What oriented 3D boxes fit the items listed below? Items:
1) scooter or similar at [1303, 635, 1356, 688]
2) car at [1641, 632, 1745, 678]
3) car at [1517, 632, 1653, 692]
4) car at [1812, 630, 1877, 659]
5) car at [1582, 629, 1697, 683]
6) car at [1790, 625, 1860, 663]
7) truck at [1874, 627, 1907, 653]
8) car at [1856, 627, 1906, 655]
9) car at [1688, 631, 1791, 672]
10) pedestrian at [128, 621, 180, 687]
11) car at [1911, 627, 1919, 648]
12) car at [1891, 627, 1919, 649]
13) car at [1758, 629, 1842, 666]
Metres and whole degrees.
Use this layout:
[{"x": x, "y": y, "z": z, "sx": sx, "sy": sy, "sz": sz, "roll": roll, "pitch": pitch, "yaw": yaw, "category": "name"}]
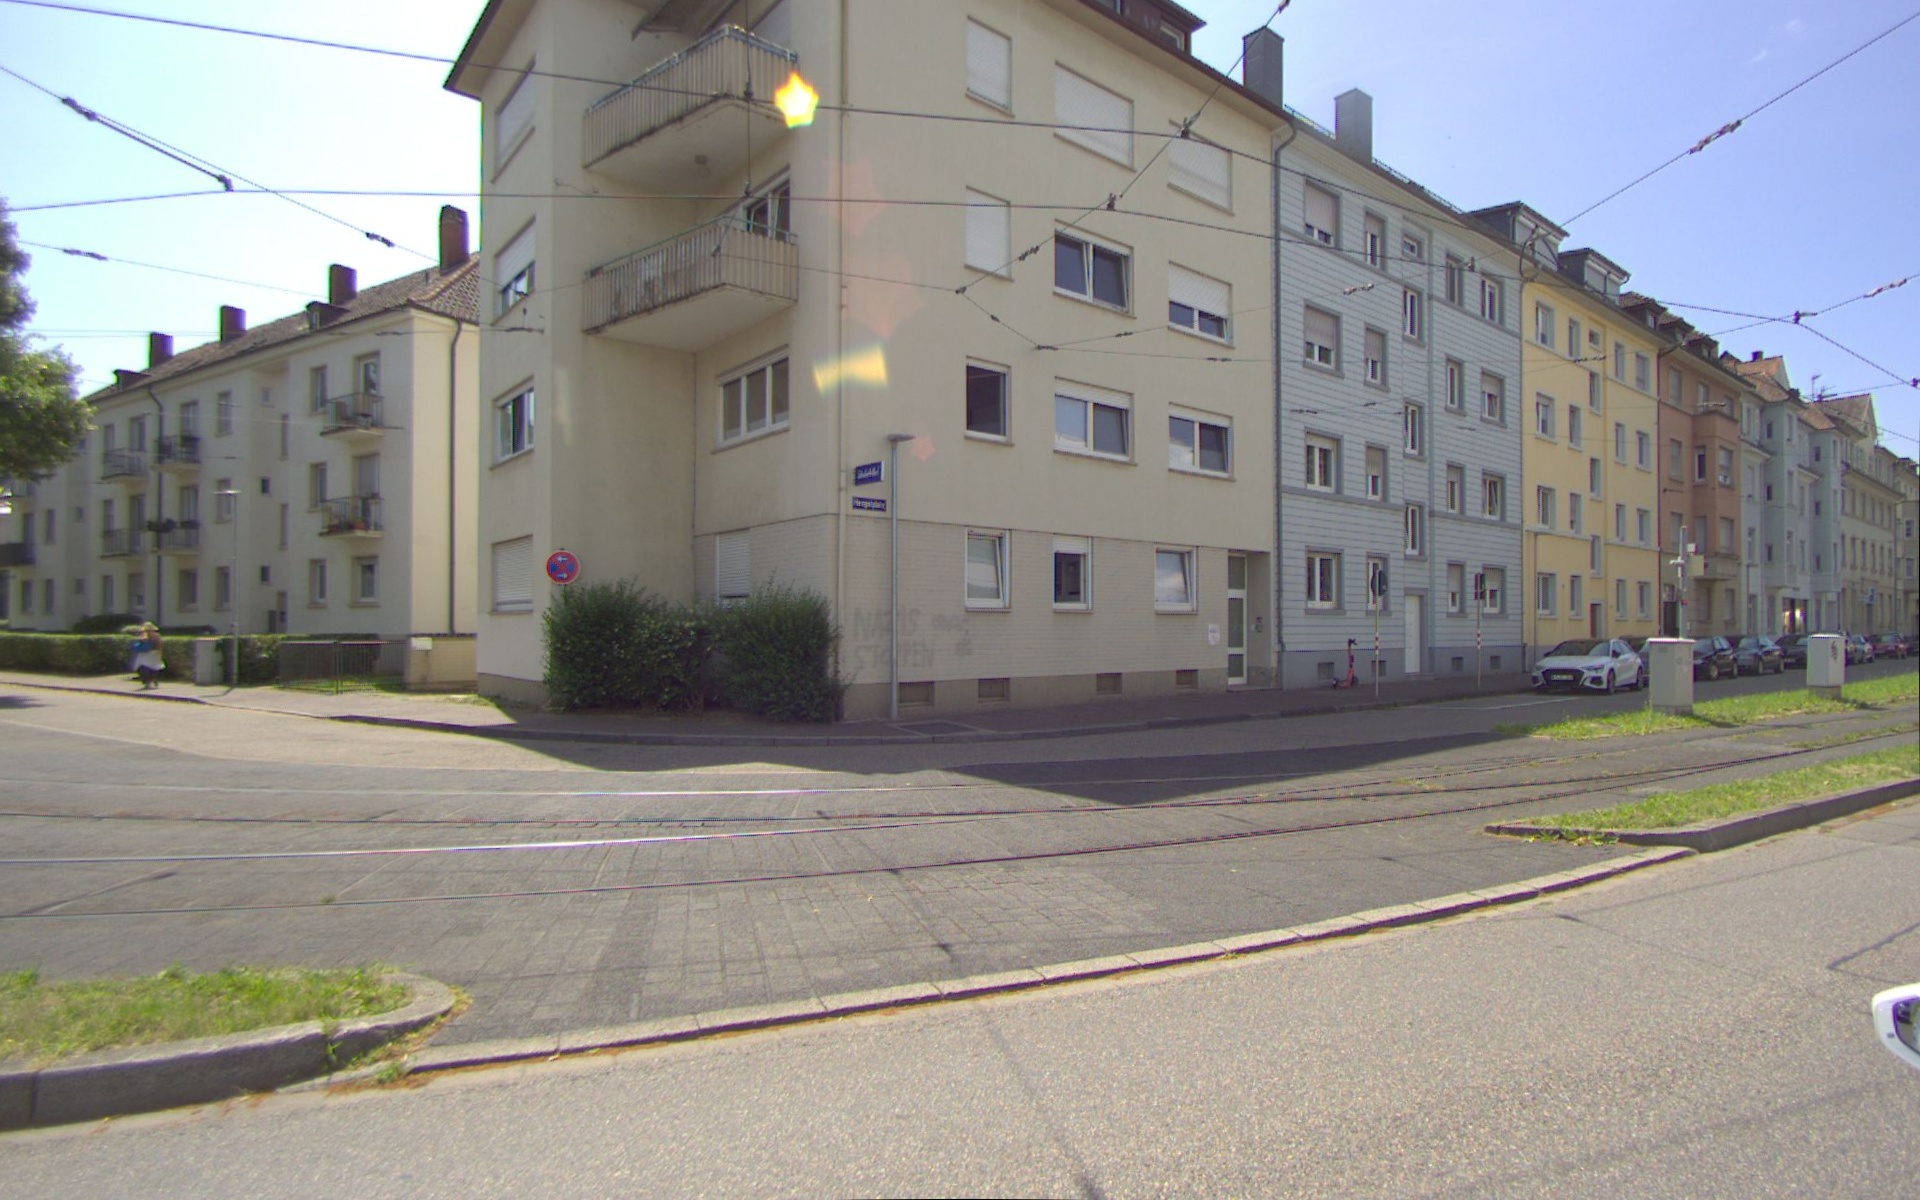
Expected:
[{"x": 9.147, "y": 1.516, "z": 24.837, "sx": 1.310, "sy": 1.239, "sz": 0.633, "roll": 3, "pitch": -1, "yaw": -40, "category": "scooter or similar"}, {"x": 24.644, "y": 1.814, "z": 33.730, "sx": 4.107, "sy": 1.418, "sz": 1.816, "roll": 1, "pitch": -2, "yaw": -39, "category": "car"}, {"x": 16.936, "y": 1.650, "z": 27.145, "sx": 4.343, "sy": 1.470, "sz": 1.911, "roll": 1, "pitch": -4, "yaw": -42, "category": "car"}, {"x": 44.181, "y": 2.209, "z": 50.153, "sx": 4.215, "sy": 1.374, "sz": 1.792, "roll": 1, "pitch": -3, "yaw": -40, "category": "car"}, {"x": 20.893, "y": 1.669, "z": 30.810, "sx": 4.293, "sy": 1.525, "sz": 1.911, "roll": 1, "pitch": -3, "yaw": -42, "category": "car"}, {"x": 40.616, "y": 2.029, "z": 47.128, "sx": 4.108, "sy": 1.707, "sz": 1.822, "roll": 1, "pitch": -3, "yaw": -40, "category": "car"}, {"x": 55.281, "y": 2.356, "z": 59.696, "sx": 2.574, "sy": 1.514, "sz": 1.116, "roll": 1, "pitch": -3, "yaw": -41, "category": "truck"}, {"x": 52.006, "y": 2.309, "z": 56.690, "sx": 3.595, "sy": 1.470, "sz": 1.559, "roll": 1, "pitch": -3, "yaw": -40, "category": "car"}, {"x": 28.946, "y": 1.873, "z": 37.240, "sx": 4.820, "sy": 1.416, "sz": 1.913, "roll": 1, "pitch": -3, "yaw": -39, "category": "car"}, {"x": -19.735, "y": 1.304, "z": 24.607, "sx": 0.731, "sy": 1.580, "sz": 0.776, "roll": 0, "pitch": -1, "yaw": 30, "category": "pedestrian"}, {"x": 67.866, "y": 2.582, "z": 70.137, "sx": 3.825, "sy": 1.408, "sz": 1.673, "roll": 1, "pitch": -3, "yaw": -40, "category": "car"}, {"x": 63.379, "y": 2.513, "z": 66.755, "sx": 3.825, "sy": 1.378, "sz": 1.673, "roll": 1, "pitch": -3, "yaw": -40, "category": "car"}, {"x": 36.345, "y": 2.040, "z": 43.436, "sx": 4.822, "sy": 1.510, "sz": 1.912, "roll": 1, "pitch": -3, "yaw": -40, "category": "car"}]
